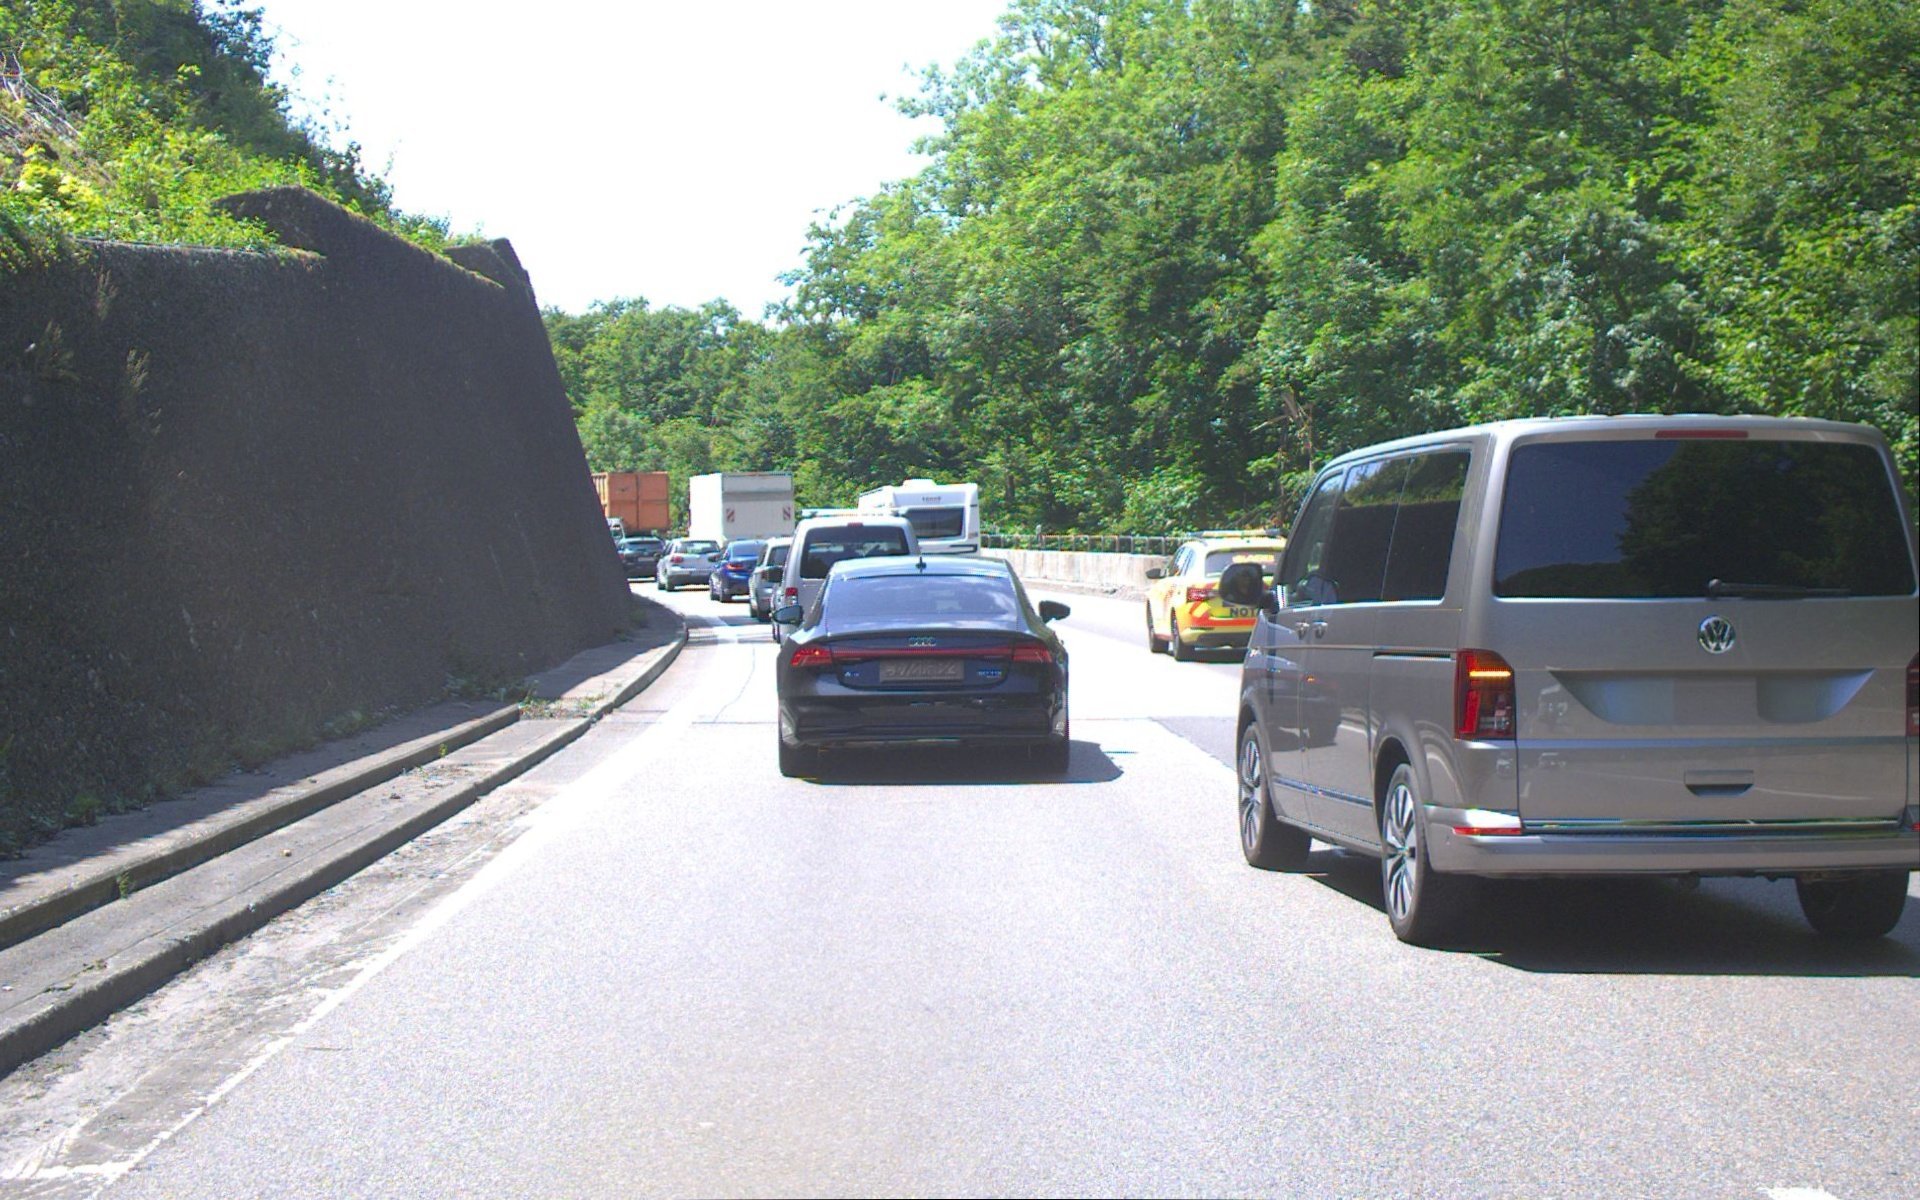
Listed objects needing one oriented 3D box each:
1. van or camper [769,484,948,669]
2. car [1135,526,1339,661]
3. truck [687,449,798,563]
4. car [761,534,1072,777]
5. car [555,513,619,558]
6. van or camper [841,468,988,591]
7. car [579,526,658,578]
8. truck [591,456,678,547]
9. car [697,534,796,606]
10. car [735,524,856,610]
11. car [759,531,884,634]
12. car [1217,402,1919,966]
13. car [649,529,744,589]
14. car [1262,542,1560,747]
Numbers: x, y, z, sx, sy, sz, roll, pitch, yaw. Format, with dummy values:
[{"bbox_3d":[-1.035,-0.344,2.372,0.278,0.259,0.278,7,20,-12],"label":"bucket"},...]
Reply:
[{"bbox_3d":[-1.138,-0.294,39.765,1.853,1.935,4.165,3,1,-1],"label":"van or camper"},{"bbox_3d":[3.331,-0.119,42.063,1.808,1.472,4.082,3,1,-4],"label":"car"},{"bbox_3d":[-7.692,-3.293,120.848,2.924,3.674,7.726,4,1,-9],"label":"truck"},{"bbox_3d":[-0.329,0.300,23.318,1.904,1.484,4.379,0,1,-2],"label":"car"},{"bbox_3d":[-13.420,-2.321,123.583,1.750,1.565,3.772,1,1,-15],"label":"car"},{"bbox_3d":[-1.171,-1.715,83.361,2.603,2.845,6.337,1,1,-9],"label":"van or camper"},{"bbox_3d":[-10.816,-1.530,108.862,1.750,1.565,3.772,1,1,-17],"label":"car"},{"bbox_3d":[-13.582,-4.076,143.042,3.163,3.456,8.224,3,1,-7],"label":"truck"},{"bbox_3d":[-5.075,-0.726,81.400,1.857,1.614,4.001,1,1,-10],"label":"car"},{"bbox_3d":[-3.176,-0.650,65.727,1.894,1.579,3.772,1,1,-9],"label":"car"},{"bbox_3d":[-2.149,-0.296,52.451,1.771,1.467,4.001,-1,1,-4],"label":"car"},{"bbox_3d":[2.395,0.244,14.142,1.940,1.924,4.695,0,1,-5],"label":"car"},{"bbox_3d":[-7.392,-1.155,96.098,1.993,1.612,4.001,1,1,-14],"label":"car"},{"bbox_3d":[3.444,0.289,26.924,1.685,1.453,4.000,1,1,-1],"label":"car"}]
